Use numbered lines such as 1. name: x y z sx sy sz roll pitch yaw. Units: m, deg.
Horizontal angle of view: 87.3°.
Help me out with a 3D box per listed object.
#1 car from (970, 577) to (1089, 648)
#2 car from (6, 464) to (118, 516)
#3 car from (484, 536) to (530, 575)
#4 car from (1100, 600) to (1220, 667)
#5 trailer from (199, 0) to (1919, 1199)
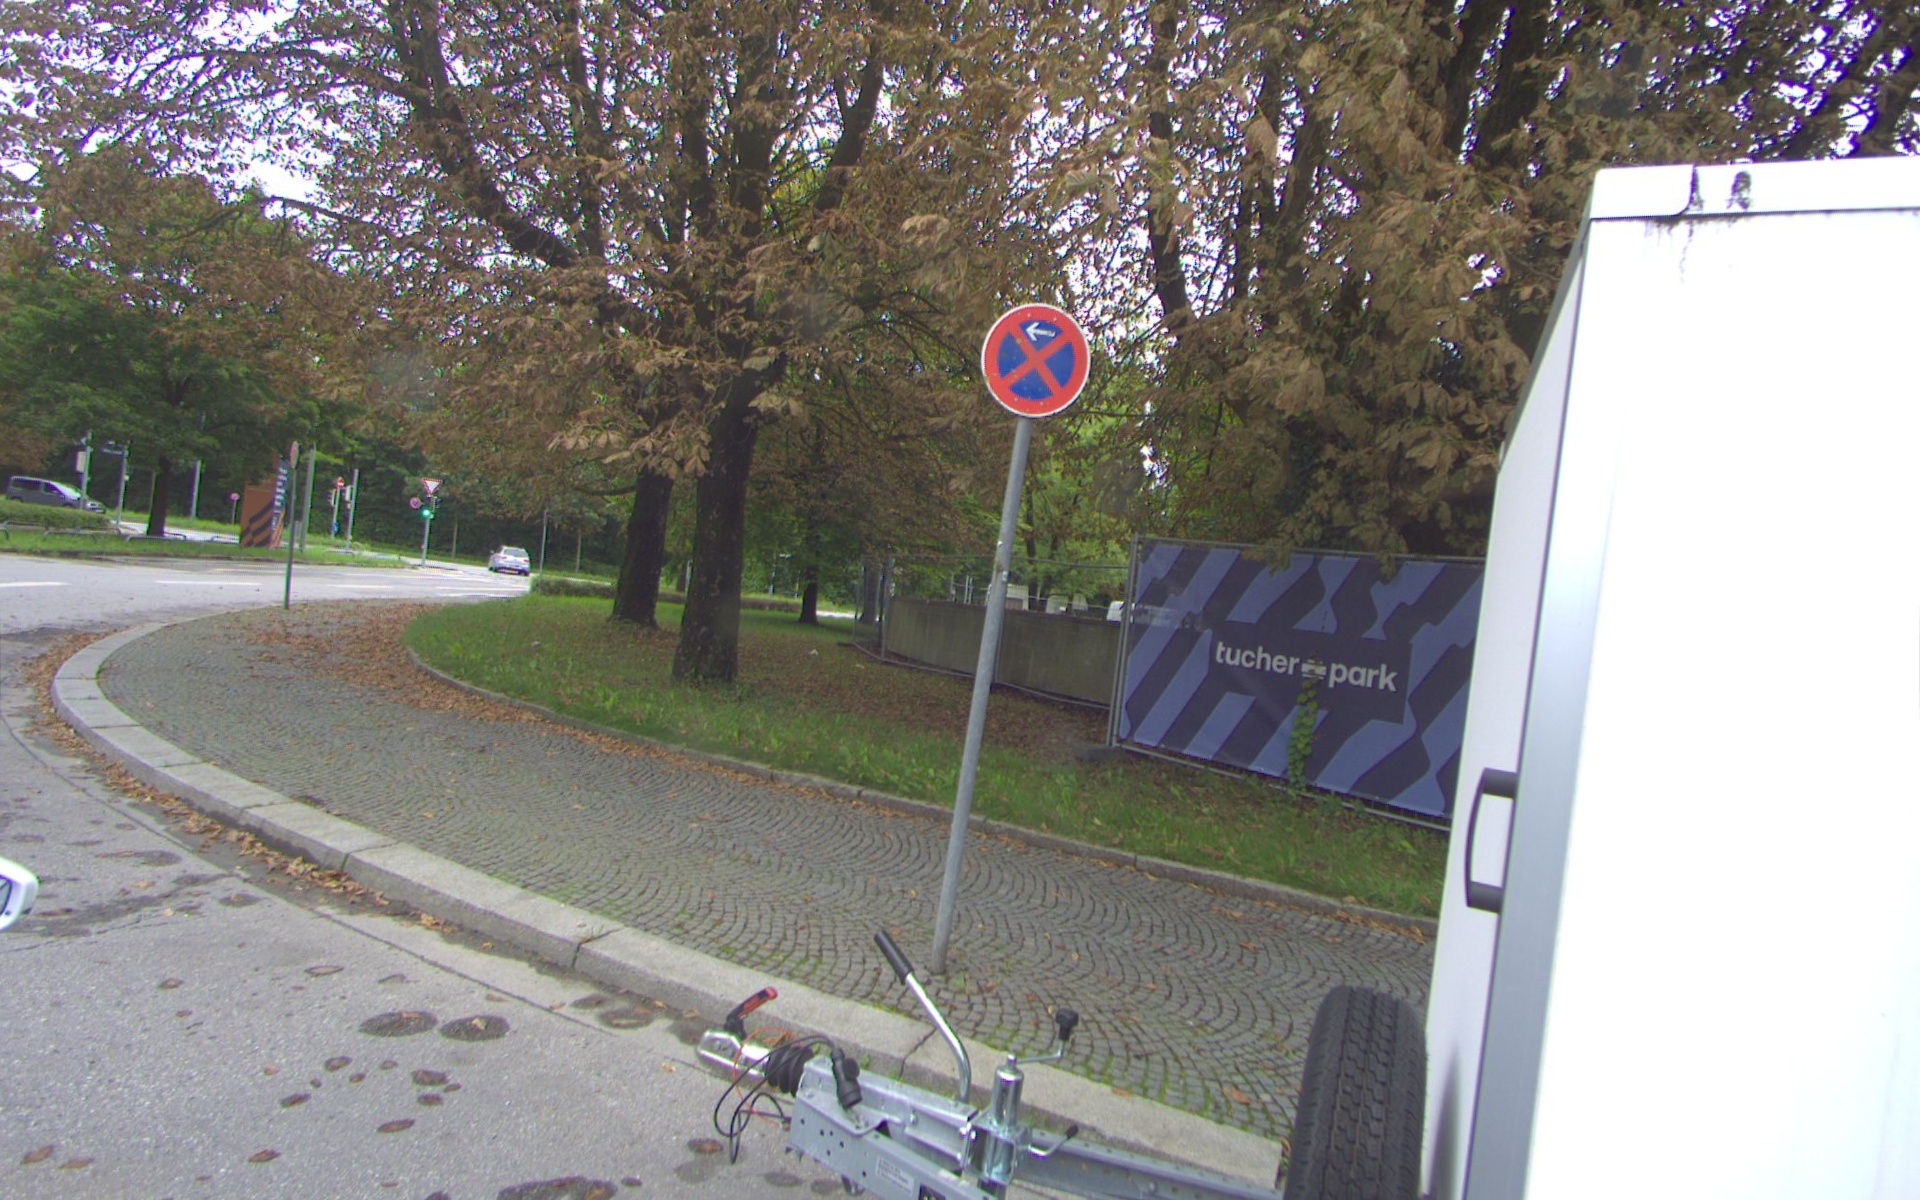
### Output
1. car: 3.418 0.609 50.486 5.495 2.768 2.076 8 0 -2
2. car: -48.528 -5.926 54.431 3.931 2.038 1.997 8 0 -8
3. car: -23.993 -2.360 53.391 1.975 1.771 4.101 7 0 -24
4. car: 10.074 1.677 51.031 5.359 2.612 2.076 8 0 -2
5. trailer: 1.207 0.476 1.542 4.749 2.038 1.813 7 0 27
